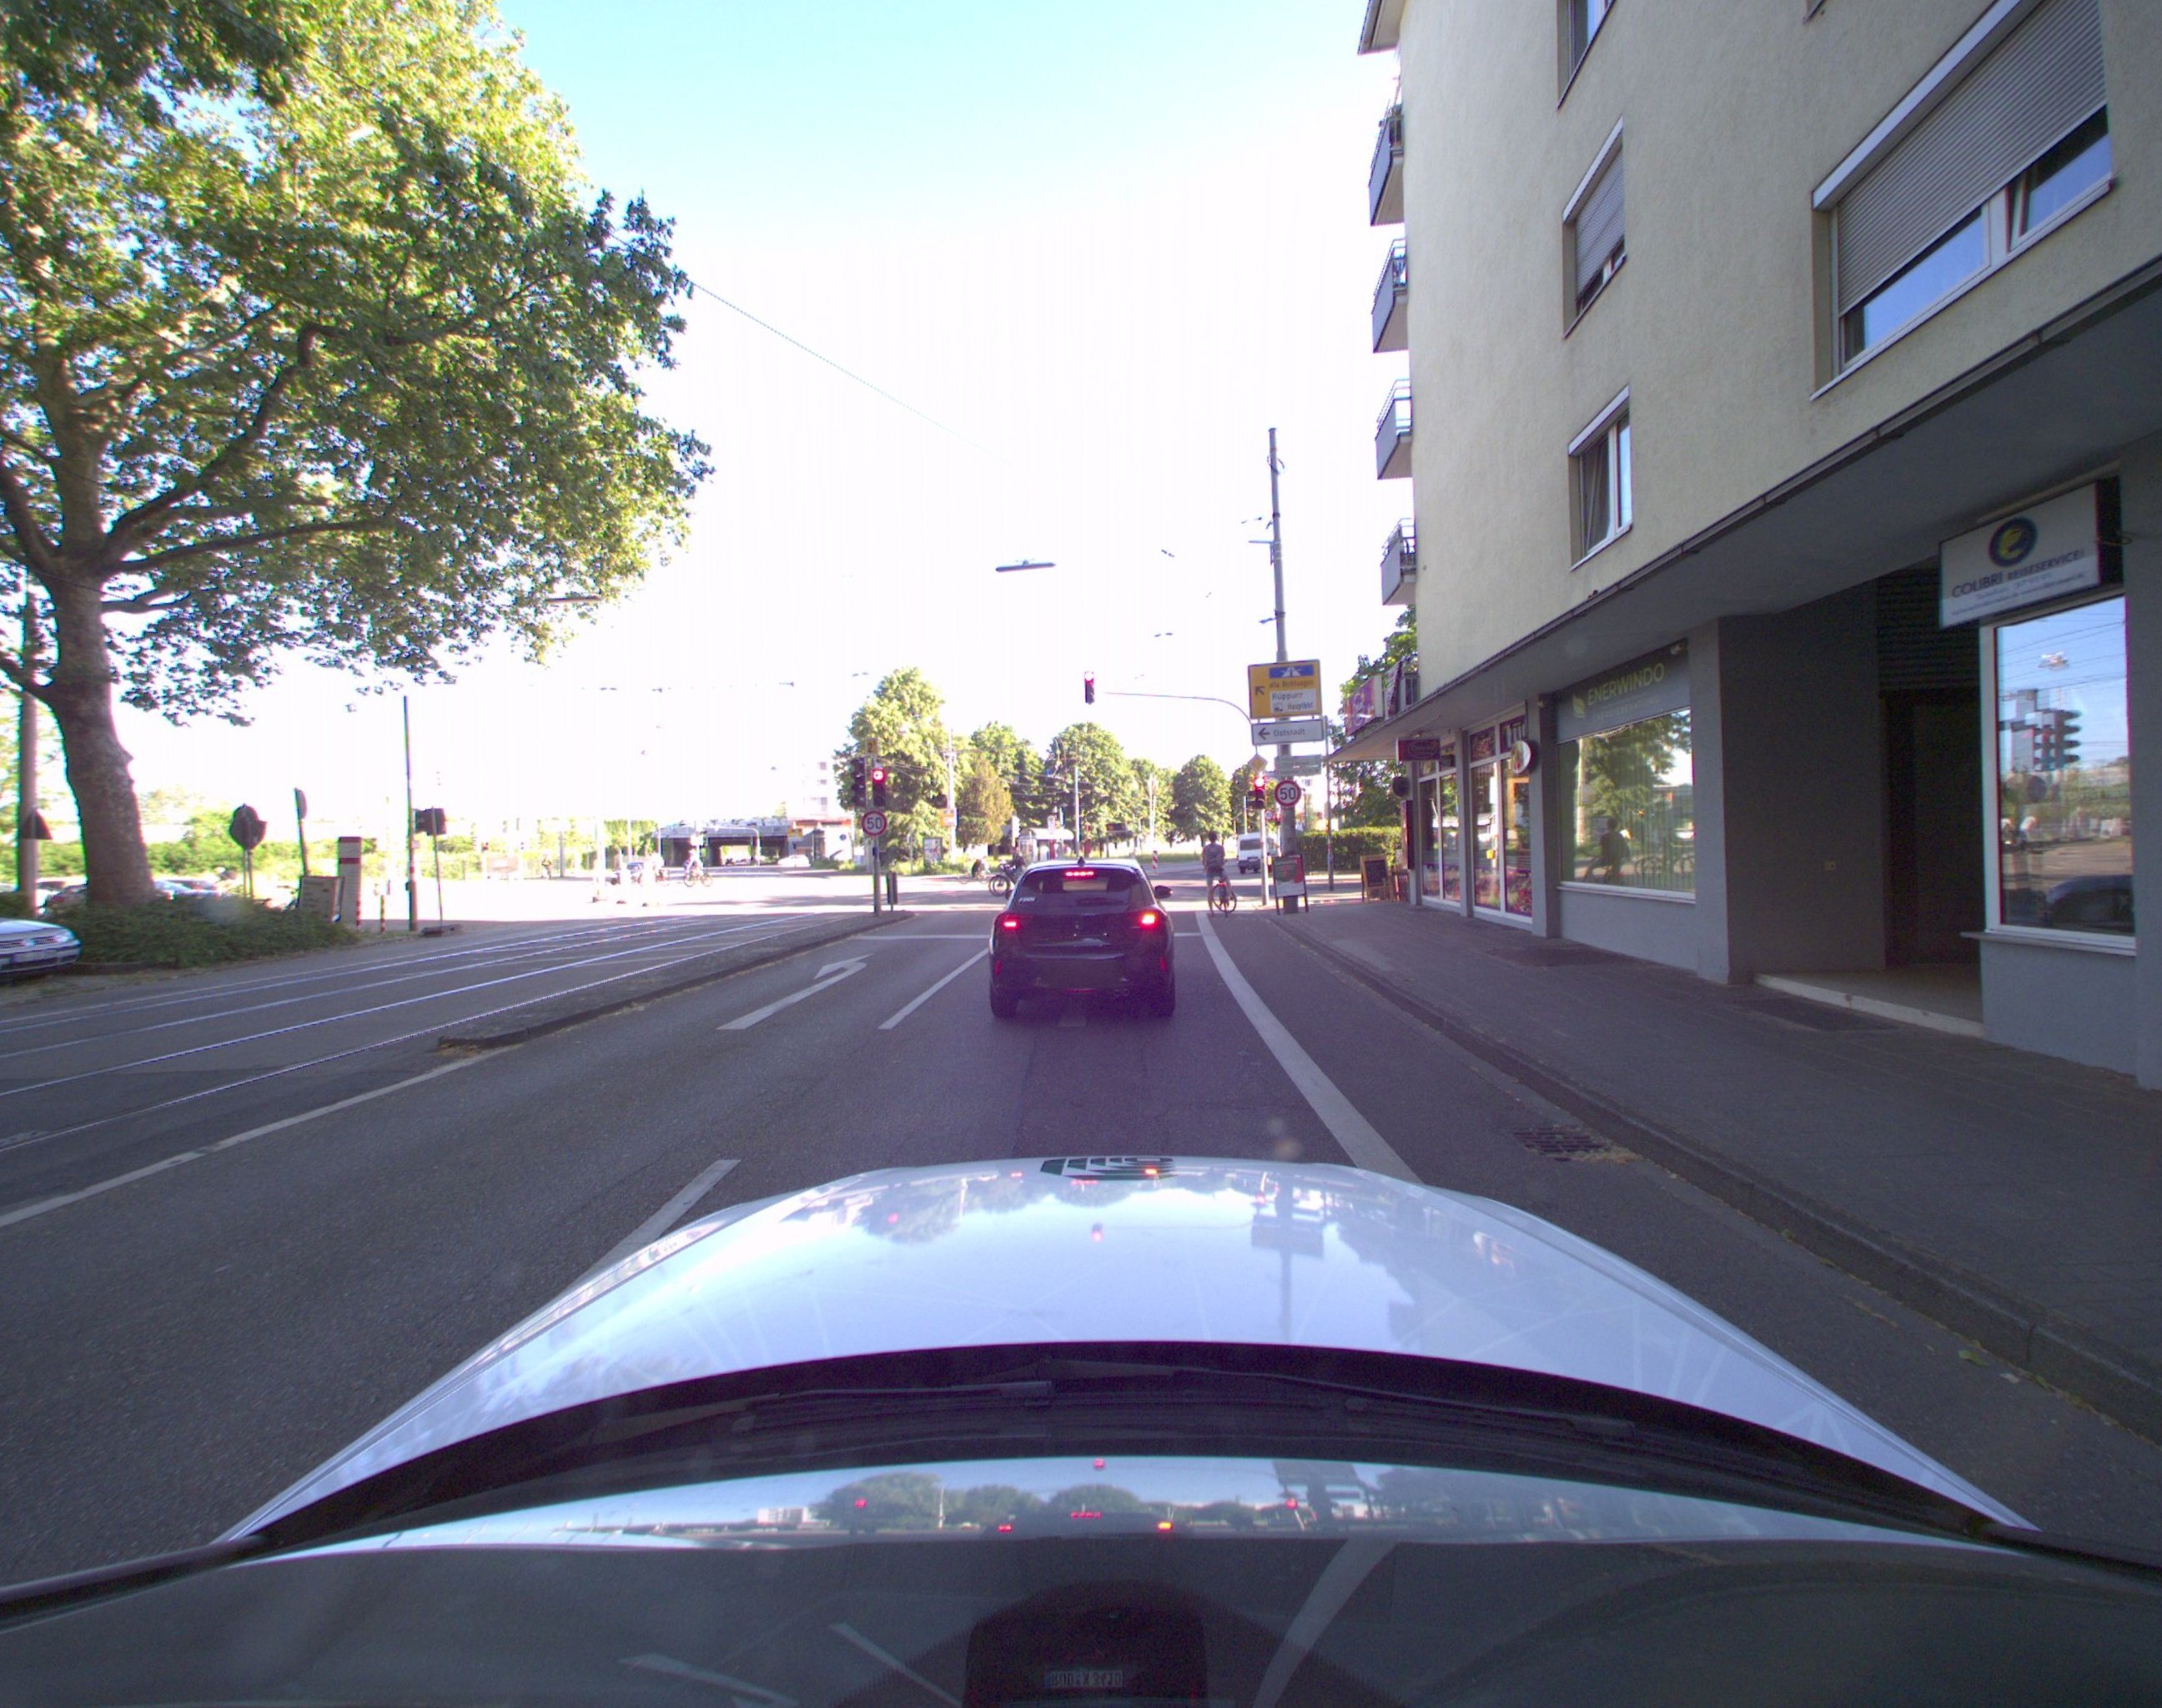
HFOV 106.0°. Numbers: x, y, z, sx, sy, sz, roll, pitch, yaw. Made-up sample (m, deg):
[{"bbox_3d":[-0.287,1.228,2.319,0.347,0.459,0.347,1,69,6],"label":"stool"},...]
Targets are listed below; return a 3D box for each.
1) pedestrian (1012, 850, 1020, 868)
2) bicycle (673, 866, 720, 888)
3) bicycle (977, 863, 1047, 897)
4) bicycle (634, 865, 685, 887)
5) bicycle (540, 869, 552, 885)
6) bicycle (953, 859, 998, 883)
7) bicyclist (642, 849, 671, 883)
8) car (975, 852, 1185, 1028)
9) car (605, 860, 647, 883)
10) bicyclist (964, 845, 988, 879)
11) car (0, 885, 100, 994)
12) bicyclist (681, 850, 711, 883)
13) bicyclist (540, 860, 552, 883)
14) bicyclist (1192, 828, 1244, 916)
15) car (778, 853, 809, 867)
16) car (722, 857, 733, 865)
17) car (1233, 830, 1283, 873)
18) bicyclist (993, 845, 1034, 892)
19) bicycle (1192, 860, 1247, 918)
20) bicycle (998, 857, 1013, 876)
[{"bbox_3d":[-5.853,0.469,73.626,0.633,1.630,0.573,0,-1,9],"label":"pedestrian"},{"bbox_3d":[-18.624,1.102,39.483,2.044,0.984,0.675,-2,0,12],"label":"bicycle"},{"bbox_3d":[-2.331,0.845,27.437,2.199,1.033,0.828,-2,0,-21],"label":"bicycle"},{"bbox_3d":[-21.726,1.137,41.970,2.278,1.084,0.803,-2,0,11],"label":"bicycle"},{"bbox_3d":[-36.627,1.578,55.761,0.585,1.060,2.022,-2,0,-30],"label":"bicycle"},{"bbox_3d":[-4.998,0.817,38.473,2.036,1.094,0.596,-2,0,23],"label":"bicycle"},{"bbox_3d":[-21.898,0.607,41.990,0.920,1.707,0.878,-2,0,11],"label":"bicyclist"},{"bbox_3d":[0.065,0.711,8.830,1.720,1.429,4.189,-1,0,2],"label":"car"},{"bbox_3d":[-31.288,1.159,56.099,1.830,1.519,3.870,0,0,-18],"label":"car"},{"bbox_3d":[-4.947,0.375,38.435,0.853,1.595,0.653,-2,0,23],"label":"bicyclist"},{"bbox_3d":[-16.958,1.198,11.361,4.497,1.429,1.676,0,0,0],"label":"car"},{"bbox_3d":[-18.658,0.594,39.494,1.003,1.570,0.802,-2,0,13],"label":"bicyclist"},{"bbox_3d":[-36.635,1.173,55.763,0.639,1.563,0.825,-2,0,-31],"label":"bicyclist"},{"bbox_3d":[2.987,0.378,17.808,0.938,1.851,0.864,-2,0,1],"label":"bicyclist"},{"bbox_3d":[-41.410,0.868,117.388,4.191,1.805,1.724,-2,0,-22],"label":"car"},{"bbox_3d":[-81.893,1.618,188.475,2.223,1.823,4.114,-2,0,-24],"label":"car"},{"bbox_3d":[10.144,-0.156,46.383,2.046,2.248,4.912,-2,0,20],"label":"car"},{"bbox_3d":[-2.279,0.480,27.444,1.117,1.520,0.915,-2,0,-21],"label":"bicyclist"},{"bbox_3d":[3.001,0.731,17.903,0.857,1.153,2.172,-2,0,1],"label":"bicycle"},{"bbox_3d":[-4.307,0.724,46.737,0.603,1.031,1.983,-2,0,2],"label":"bicycle"}]
